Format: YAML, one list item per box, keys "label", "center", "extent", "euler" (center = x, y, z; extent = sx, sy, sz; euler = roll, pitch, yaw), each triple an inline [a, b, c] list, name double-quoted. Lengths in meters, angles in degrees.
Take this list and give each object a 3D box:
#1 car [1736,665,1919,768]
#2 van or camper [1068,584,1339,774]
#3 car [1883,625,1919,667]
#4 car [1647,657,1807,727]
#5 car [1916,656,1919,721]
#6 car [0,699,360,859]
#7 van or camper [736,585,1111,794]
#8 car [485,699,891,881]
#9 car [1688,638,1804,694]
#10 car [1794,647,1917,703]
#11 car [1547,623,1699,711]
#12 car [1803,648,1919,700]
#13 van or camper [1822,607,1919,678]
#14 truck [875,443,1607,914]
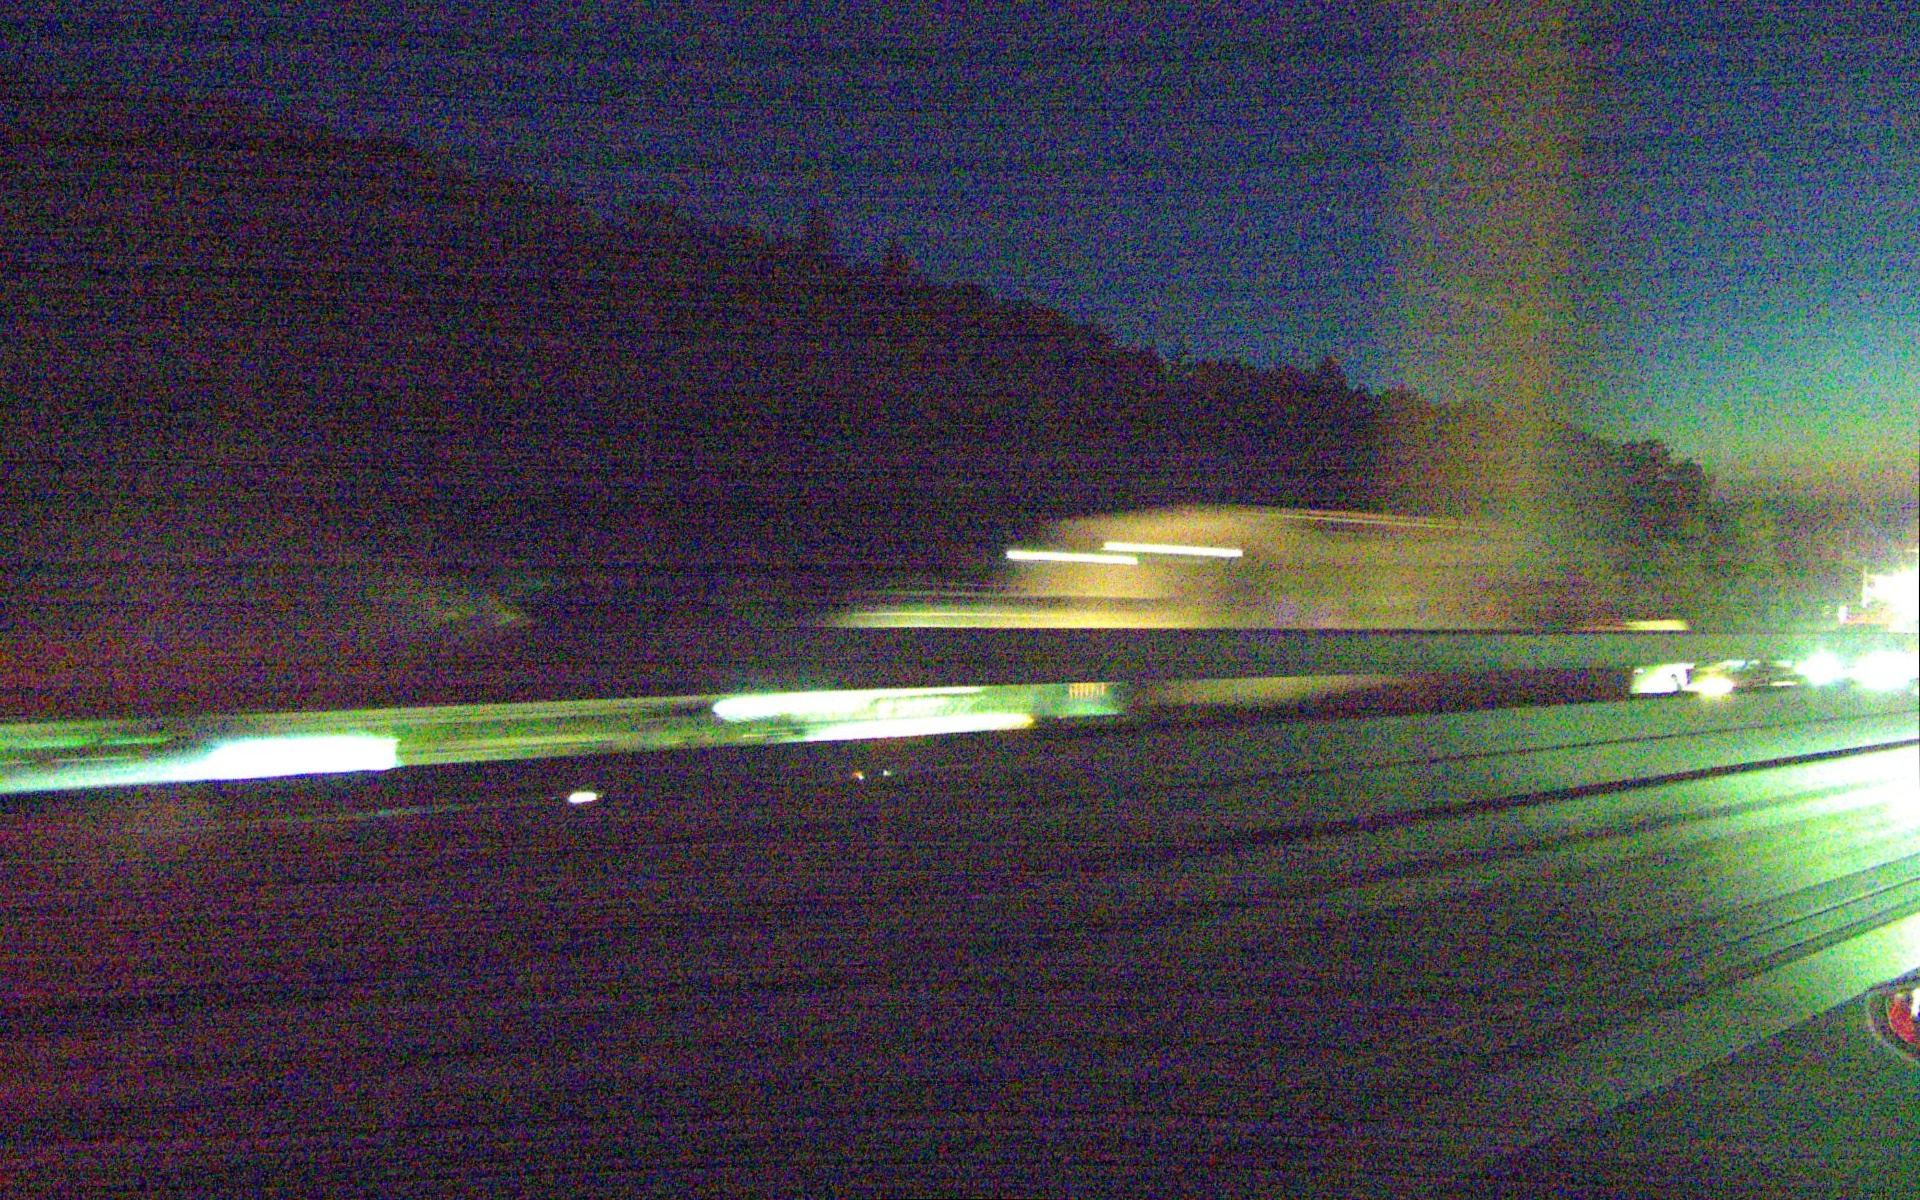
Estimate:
- label: "car"
  center: [16.418, 2.067, 18.673]
  extent: [4.103, 1.557, 1.982]
  euler: [1, -2, -34]
- label: "van or camper"
  center: [5.092, 1.492, 20.672]
  extent: [5.635, 3.424, 2.255]
  euler: [1, -1, -34]
- label: "car"
  center: [45.954, 2.209, 48.046]
  extent: [4.521, 1.948, 1.827]
  euler: [2, -3, -36]
- label: "car"
  center: [19.064, 2.222, 24.924]
  extent: [4.458, 1.471, 1.823]
  euler: [1, -2, -34]
- label: "car"
  center: [24.077, 2.037, 23.322]
  extent: [4.458, 1.471, 1.808]
  euler: [1, -2, -34]
- label: "car"
  center: [-9.371, 2.008, 11.769]
  extent: [3.953, 1.461, 1.593]
  euler: [1, -2, -30]
- label: "van or camper"
  center: [-0.433, 1.350, 16.986]
  extent: [6.332, 3.011, 1.823]
  euler: [1, -1, -34]
- label: "car"
  center: [-2.944, 1.951, 11.176]
  extent: [4.091, 1.461, 1.592]
  euler: [1, -2, -31]
- label: "car"
  center: [29.336, 2.394, 37.431]
  extent: [5.390, 1.884, 1.823]
  euler: [1, -1, -34]
- label: "car"
  center: [27.998, 2.285, 31.369]
  extent: [4.458, 1.535, 1.808]
  euler: [1, -1, -34]
- label: "car"
  center: [19.674, 1.889, 29.738]
  extent: [5.390, 2.402, 1.823]
  euler: [1, -1, -34]
- label: "car"
  center: [28.443, 2.275, 31.580]
  extent: [4.458, 1.471, 1.808]
  euler: [1, -2, -34]
- label: "van or camper"
  center: [39.054, 1.755, 42.575]
  extent: [6.426, 2.797, 2.428]
  euler: [1, -1, -36]
- label: "truck"
  center: [3.469, 0.685, 11.073]
  extent: [8.451, 3.639, 2.641]
  euler: [1, 0, -31]
